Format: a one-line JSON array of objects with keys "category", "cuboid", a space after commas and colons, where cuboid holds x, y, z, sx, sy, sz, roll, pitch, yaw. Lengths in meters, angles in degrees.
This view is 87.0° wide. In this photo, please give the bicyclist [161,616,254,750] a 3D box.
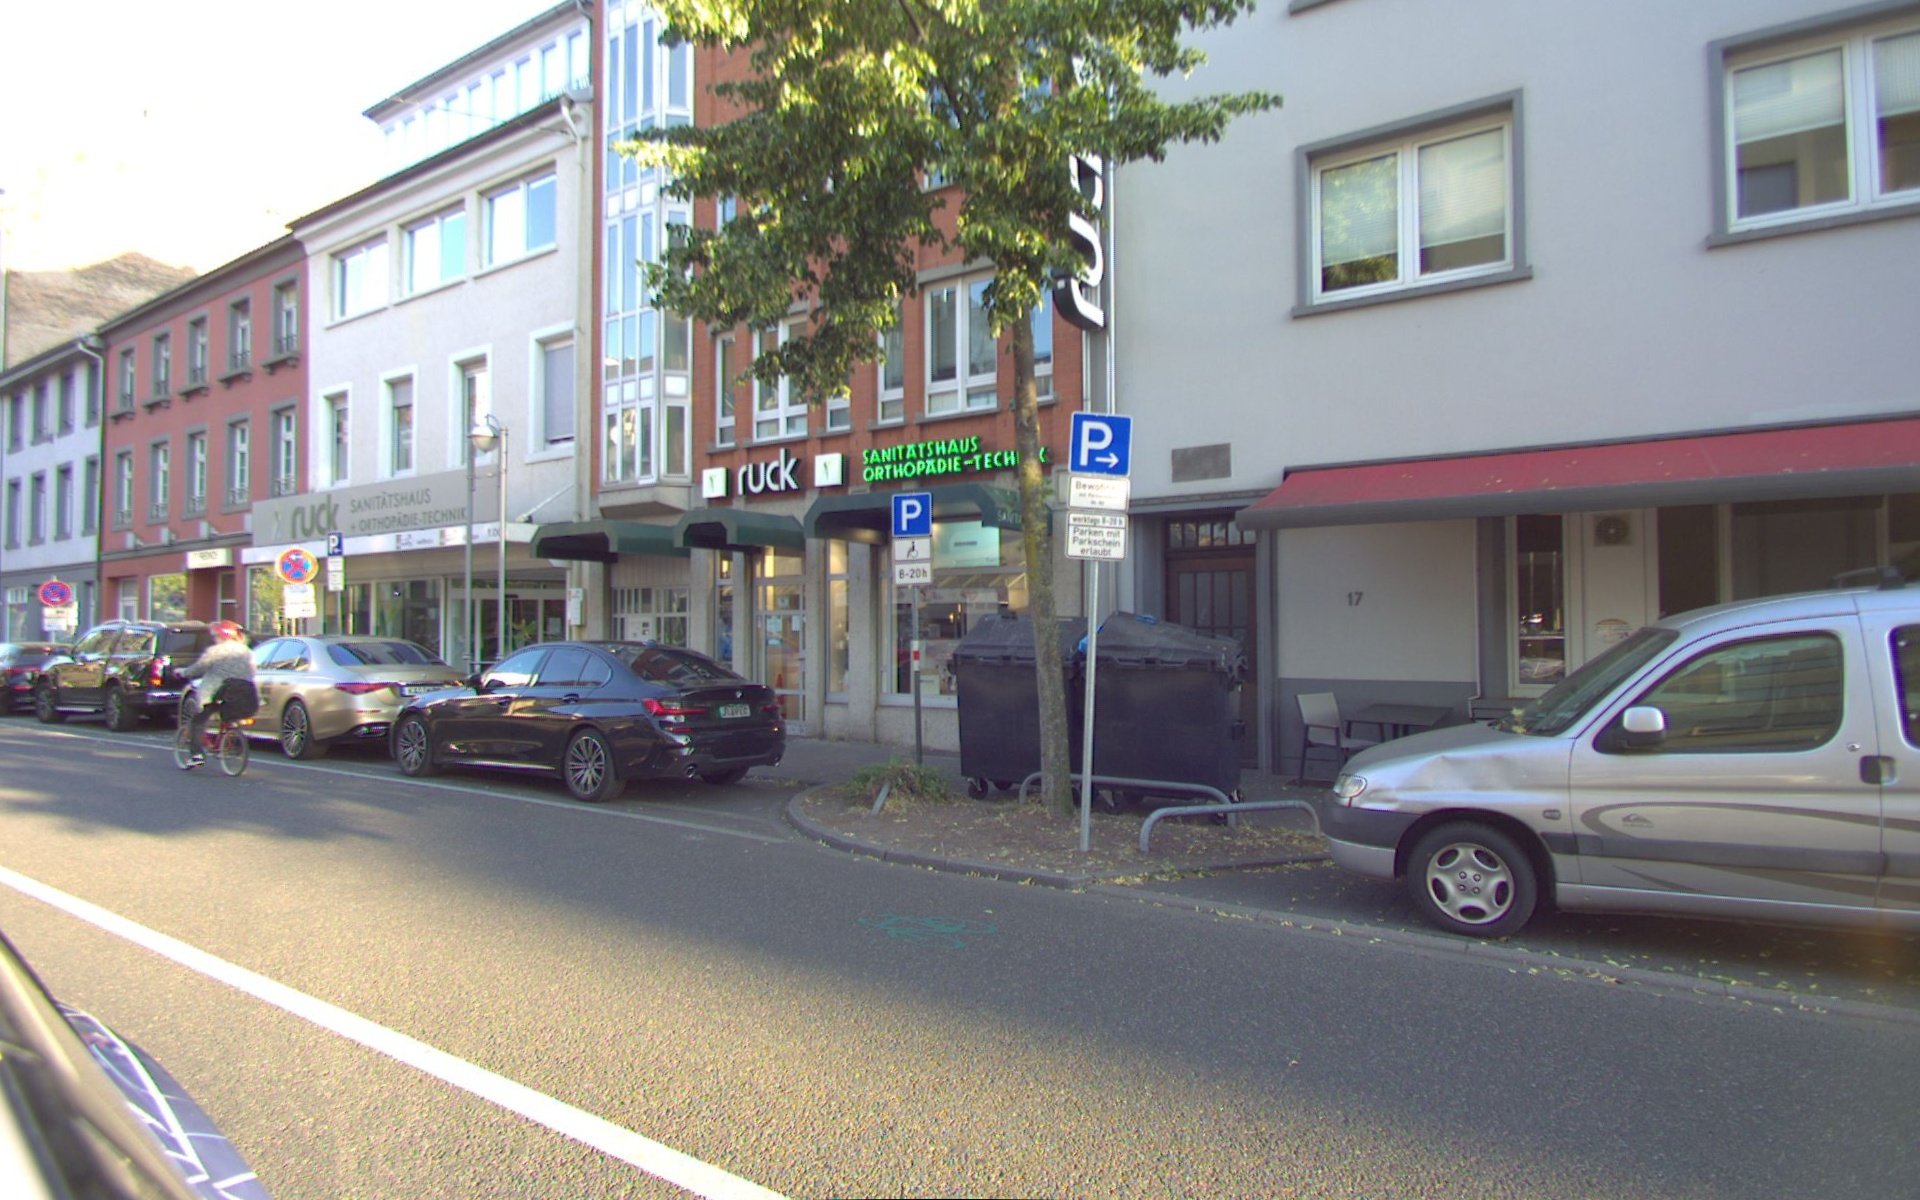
[{"category": "bicyclist", "cuboid": [-7.730, 0.826, 10.398, 0.658, 1.312, 0.563, -1, 0, 32]}]

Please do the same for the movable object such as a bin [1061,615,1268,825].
[{"category": "movable object such as a bin", "cuboid": [1.662, 0.909, 8.281, 1.480, 1.555, 0.745, -1, 0, 33]}]

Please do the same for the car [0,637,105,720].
[{"category": "car", "cuboid": [-19.188, 1.536, 20.567, 3.831, 1.536, 1.718, -2, -2, 33]}]

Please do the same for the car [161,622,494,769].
[{"category": "car", "cuboid": [-8.433, 1.156, 13.338, 4.931, 1.612, 1.875, -2, -3, 34]}]

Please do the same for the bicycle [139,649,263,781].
[{"category": "bicycle", "cuboid": [-7.898, 1.157, 10.507, 1.688, 1.246, 0.416, -1, 0, 31]}]

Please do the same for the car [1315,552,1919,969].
[{"category": "car", "cuboid": [3.986, 0.643, 4.981, 3.984, 1.676, 1.703, -1, 0, 30]}]

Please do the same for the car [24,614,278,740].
[{"category": "car", "cuboid": [-13.981, 1.266, 17.405, 4.932, 1.898, 1.952, -2, -3, 33]}]

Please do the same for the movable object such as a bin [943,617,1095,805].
[{"category": "movable object such as a bin", "cuboid": [0.528, 0.942, 9.008, 1.097, 1.547, 0.740, -2, -1, 33]}]

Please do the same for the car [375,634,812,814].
[{"category": "car", "cuboid": [-3.744, 1.064, 10.107, 4.403, 1.403, 1.786, -1, -1, 32]}]
